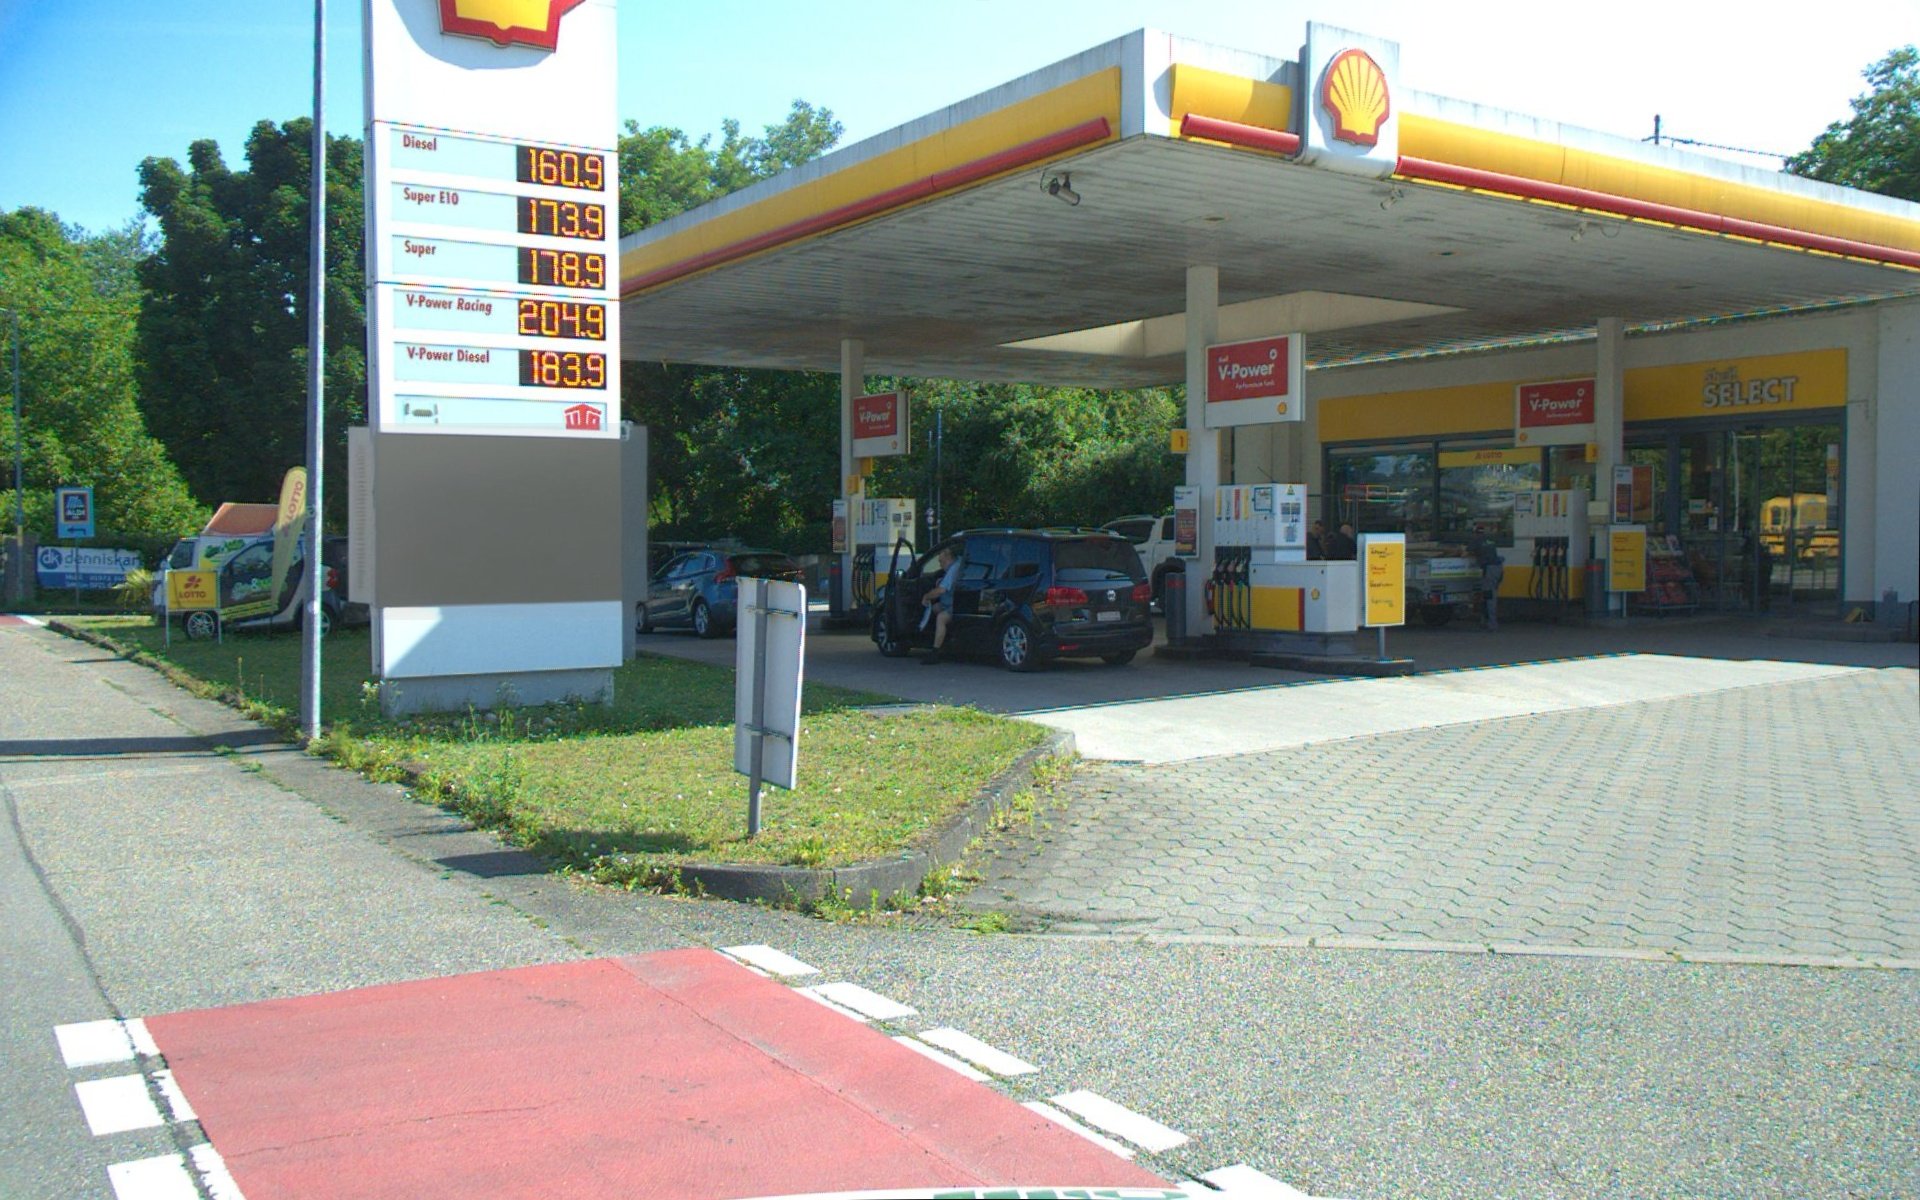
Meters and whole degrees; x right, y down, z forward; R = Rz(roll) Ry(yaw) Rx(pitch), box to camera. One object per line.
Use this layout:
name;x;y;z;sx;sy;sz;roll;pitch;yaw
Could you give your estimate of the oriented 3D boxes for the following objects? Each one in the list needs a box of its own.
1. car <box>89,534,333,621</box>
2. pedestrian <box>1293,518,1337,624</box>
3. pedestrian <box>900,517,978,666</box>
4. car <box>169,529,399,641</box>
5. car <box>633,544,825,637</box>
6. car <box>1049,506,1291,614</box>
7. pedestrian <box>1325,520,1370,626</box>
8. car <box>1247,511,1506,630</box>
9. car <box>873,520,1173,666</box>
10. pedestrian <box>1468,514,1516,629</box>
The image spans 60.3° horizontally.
car;-14.197;-0.409;31.462;3.964;1.556;1.562;0;1;-41
pedestrian;5.618;-0.470;26.177;0.494;1.660;0.471;-1;2;-30
pedestrian;-0.256;-0.122;20.075;0.664;1.759;0.805;-1;2;-26
car;-9.775;-0.211;24.007;2.664;1.557;1.579;0;0;10
car;-3.825;-0.211;26.923;1.779;1.384;3.809;-2;2;-30
car;3.826;-0.774;30.905;1.836;1.869;4.722;-2;2;-35
pedestrian;5.957;-0.421;25.450;0.494;1.621;0.471;-1;2;-30
car;6.574;-0.493;26.471;1.808;1.758;3.960;-2;2;-30
car;0.674;-0.148;20.268;1.745;1.606;3.830;-2;3;-35
pedestrian;7.951;-0.432;24.727;0.470;1.697;0.495;-2;2;-32
